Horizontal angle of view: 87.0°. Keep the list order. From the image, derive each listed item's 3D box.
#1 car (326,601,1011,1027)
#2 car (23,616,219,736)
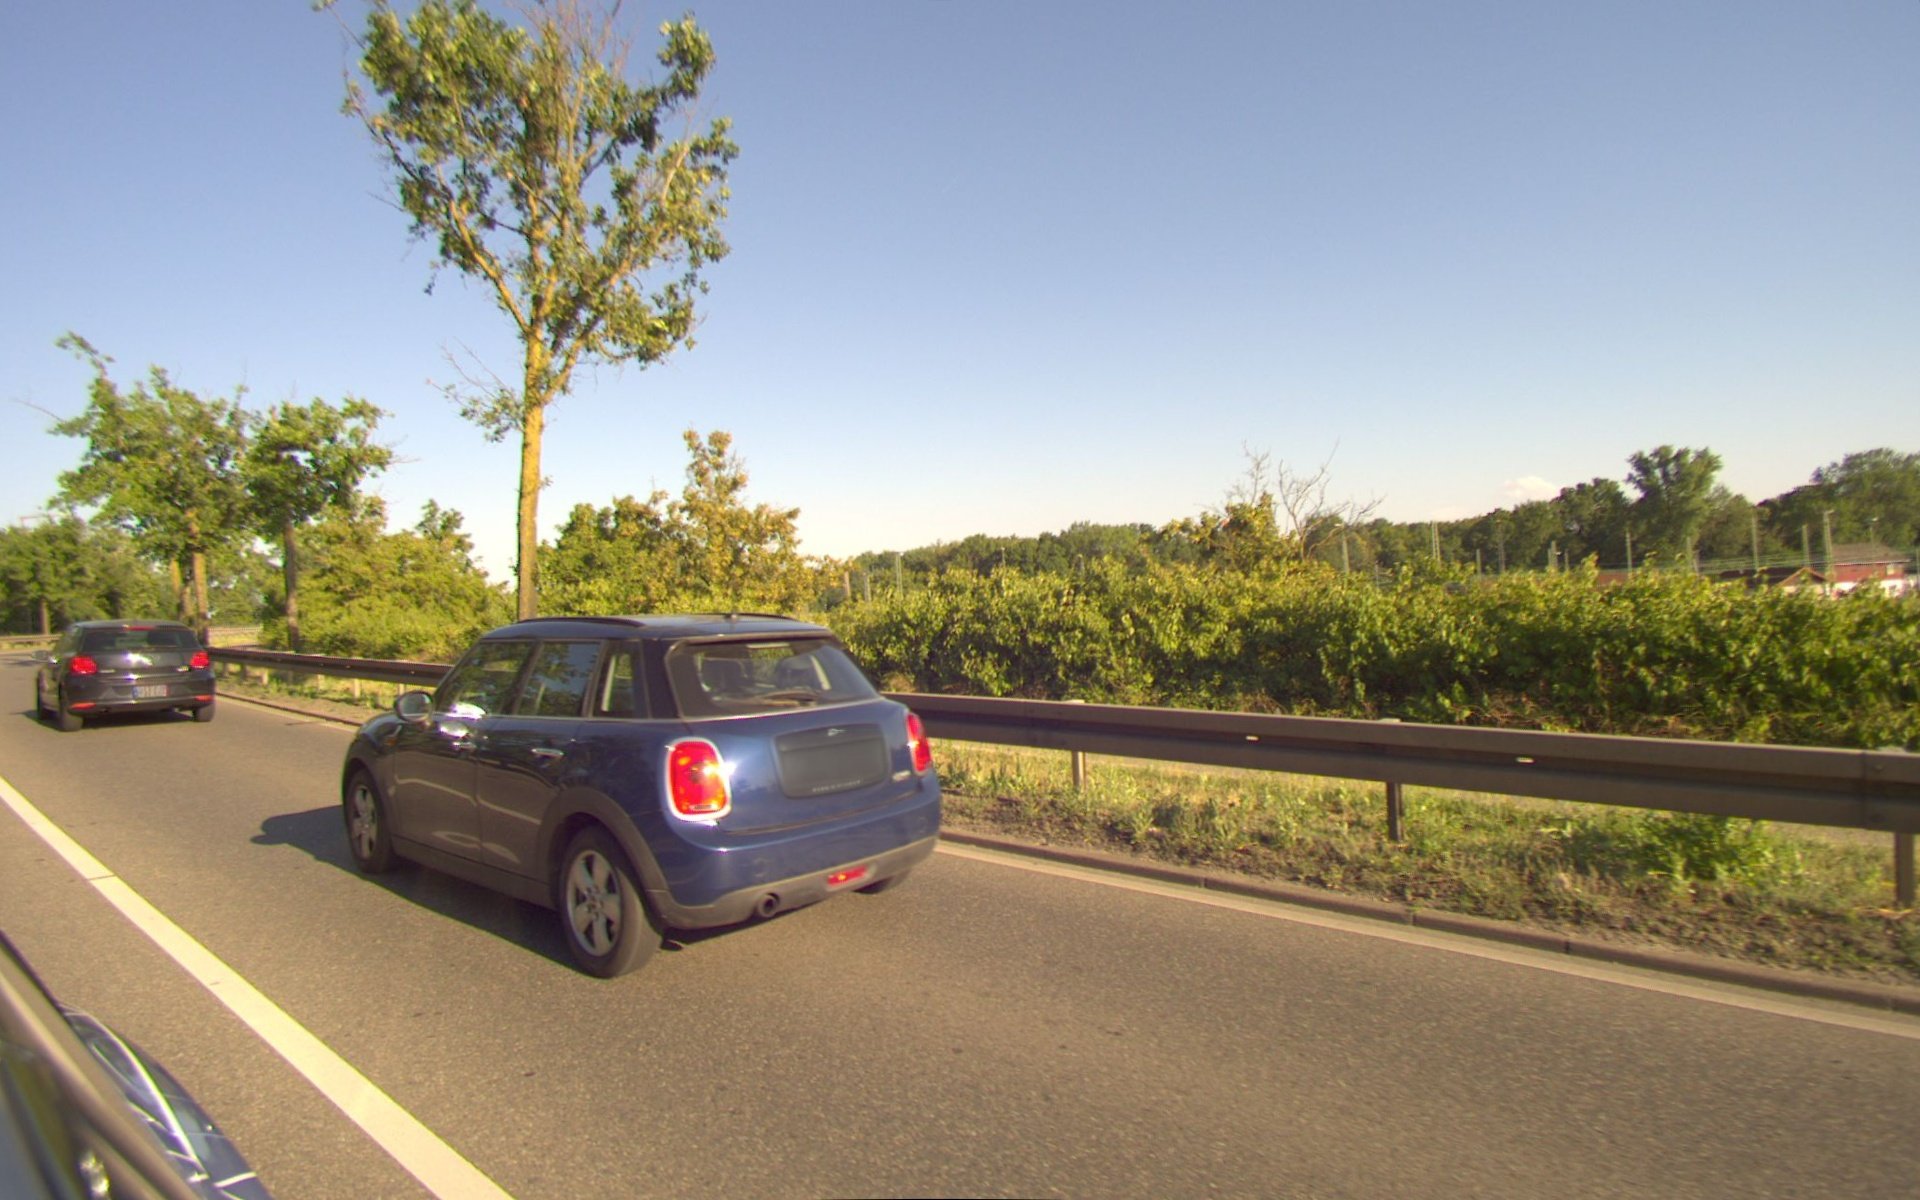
[{"bbox_3d":[-1.759,0.762,5.333,3.857,1.434,1.665,-2,-1,41],"label":"car"},{"bbox_3d":[-12.148,1.001,14.570,3.858,1.478,1.677,-2,-1,43],"label":"car"}]
